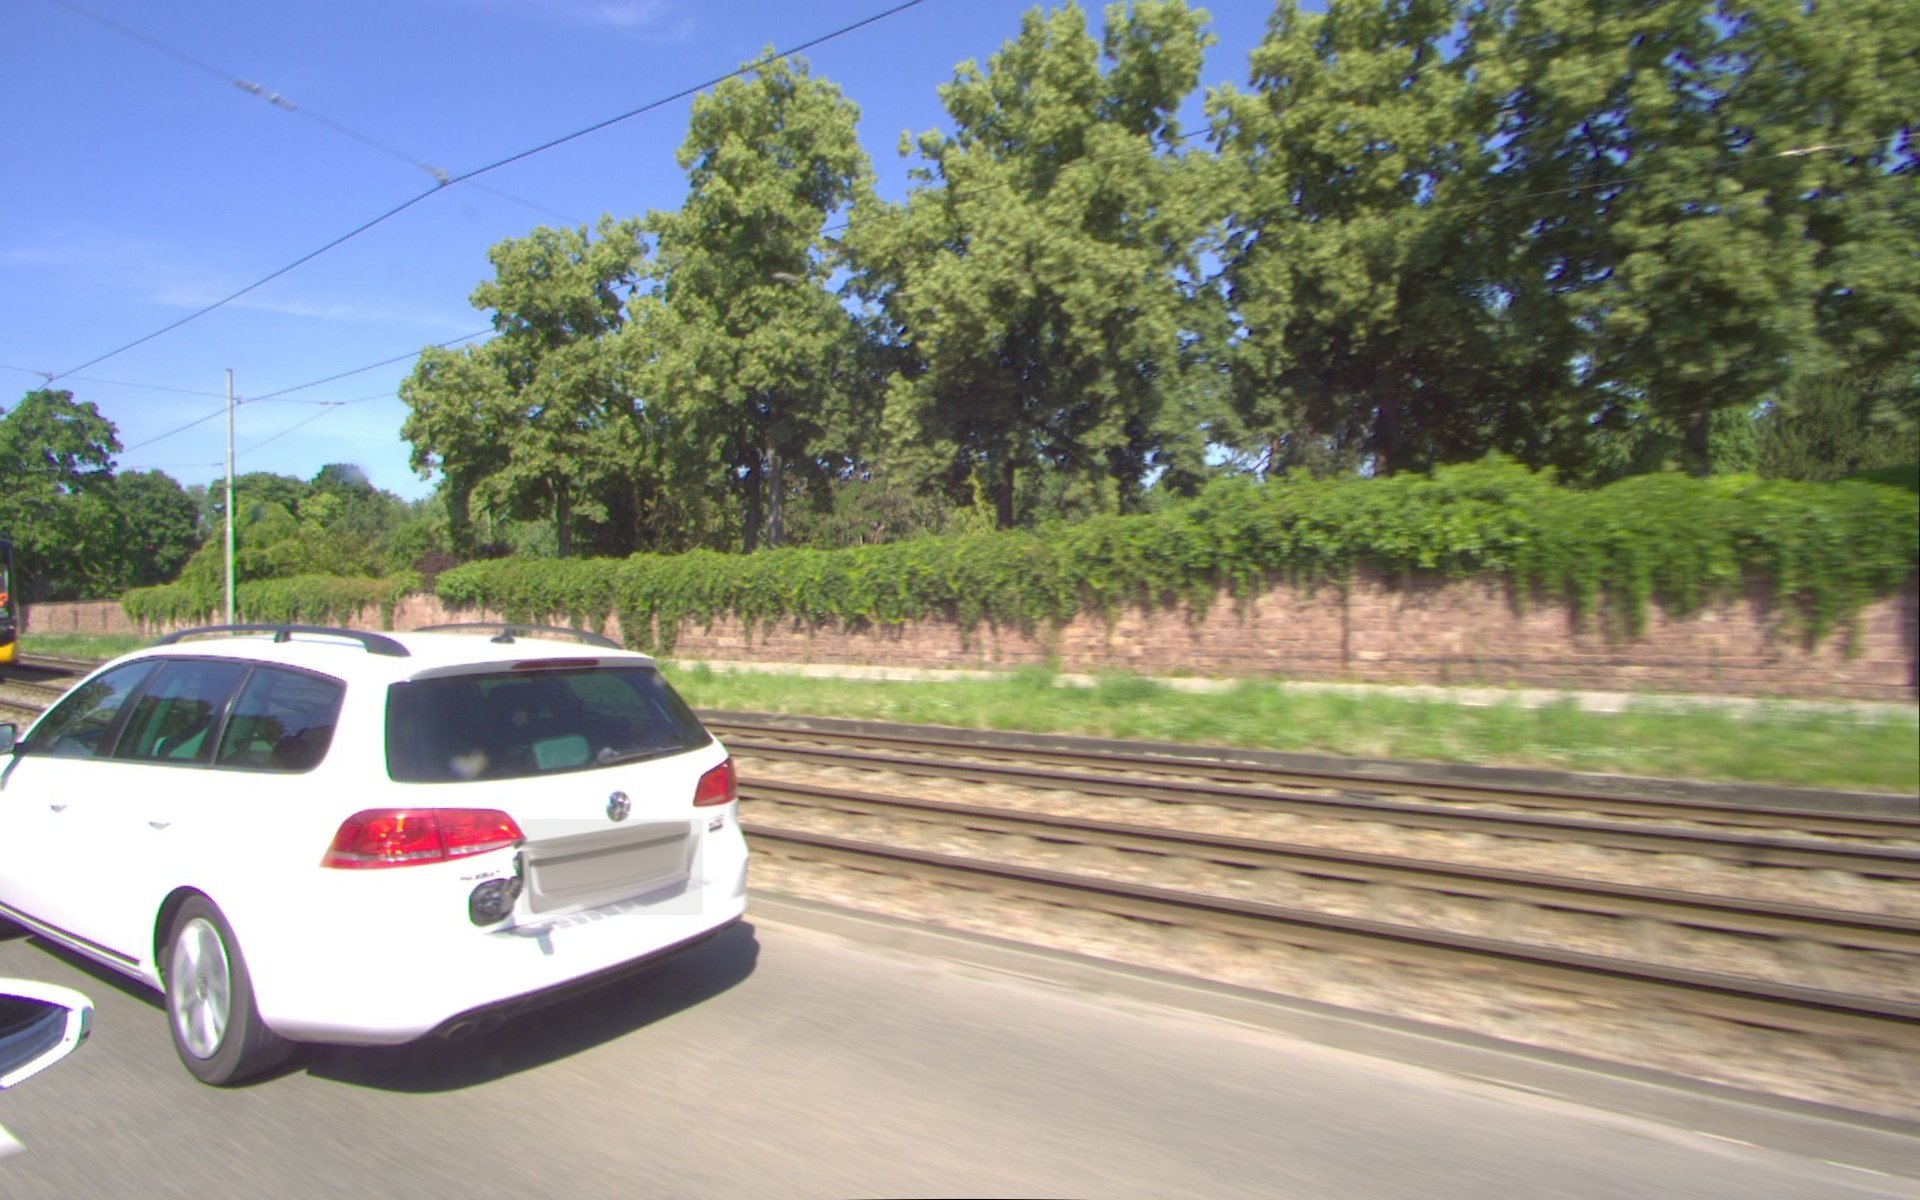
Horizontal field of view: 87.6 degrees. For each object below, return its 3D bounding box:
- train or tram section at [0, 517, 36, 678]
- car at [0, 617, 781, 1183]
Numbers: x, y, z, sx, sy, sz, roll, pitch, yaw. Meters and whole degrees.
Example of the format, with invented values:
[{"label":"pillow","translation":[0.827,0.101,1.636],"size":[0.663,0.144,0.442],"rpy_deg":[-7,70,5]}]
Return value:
[{"label":"train or tram section","translation":[-28.134,-0.016,27.134],"size":[13.144,3.796,2.501],"rpy_deg":[-1,0,38]},{"label":"car","translation":[-3.019,0.829,4.564],"size":[4.395,1.470,1.688],"rpy_deg":[0,0,33]}]
